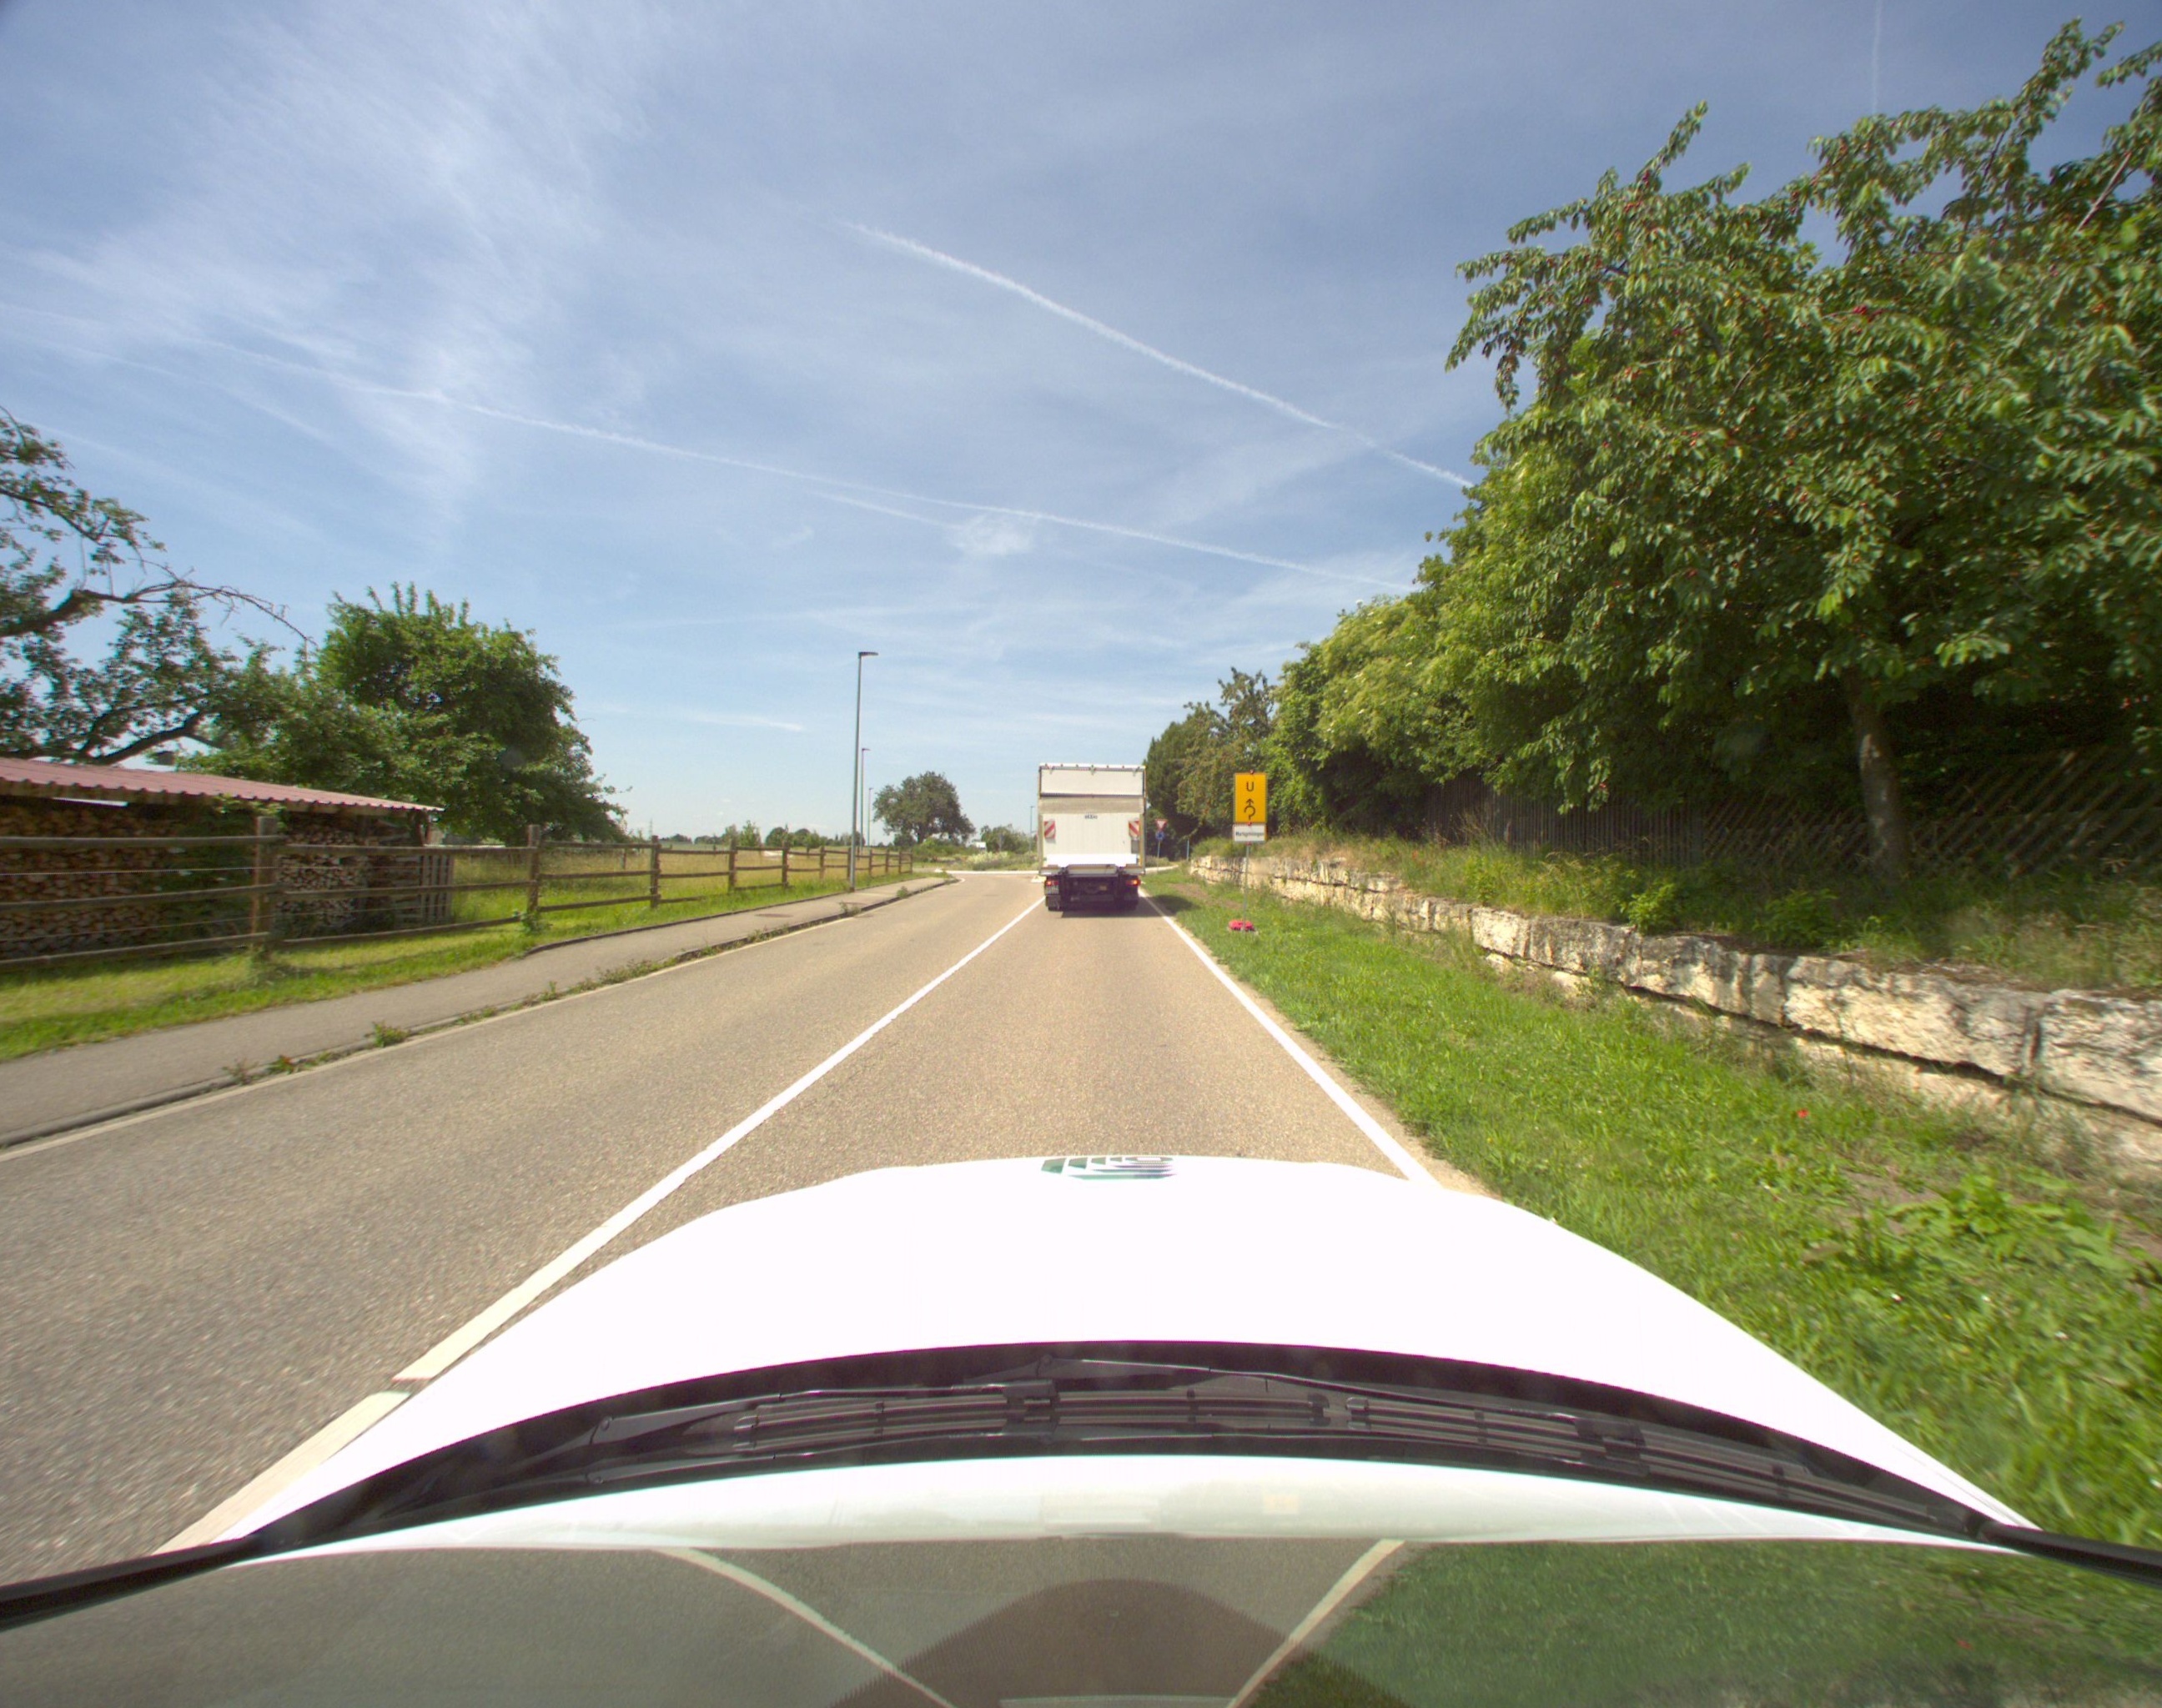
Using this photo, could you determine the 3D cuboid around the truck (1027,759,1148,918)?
[{"bbox_3d":[0.169,-0.373,23.673,2.758,3.671,9.381,-1,0,0],"label":"truck"}]
